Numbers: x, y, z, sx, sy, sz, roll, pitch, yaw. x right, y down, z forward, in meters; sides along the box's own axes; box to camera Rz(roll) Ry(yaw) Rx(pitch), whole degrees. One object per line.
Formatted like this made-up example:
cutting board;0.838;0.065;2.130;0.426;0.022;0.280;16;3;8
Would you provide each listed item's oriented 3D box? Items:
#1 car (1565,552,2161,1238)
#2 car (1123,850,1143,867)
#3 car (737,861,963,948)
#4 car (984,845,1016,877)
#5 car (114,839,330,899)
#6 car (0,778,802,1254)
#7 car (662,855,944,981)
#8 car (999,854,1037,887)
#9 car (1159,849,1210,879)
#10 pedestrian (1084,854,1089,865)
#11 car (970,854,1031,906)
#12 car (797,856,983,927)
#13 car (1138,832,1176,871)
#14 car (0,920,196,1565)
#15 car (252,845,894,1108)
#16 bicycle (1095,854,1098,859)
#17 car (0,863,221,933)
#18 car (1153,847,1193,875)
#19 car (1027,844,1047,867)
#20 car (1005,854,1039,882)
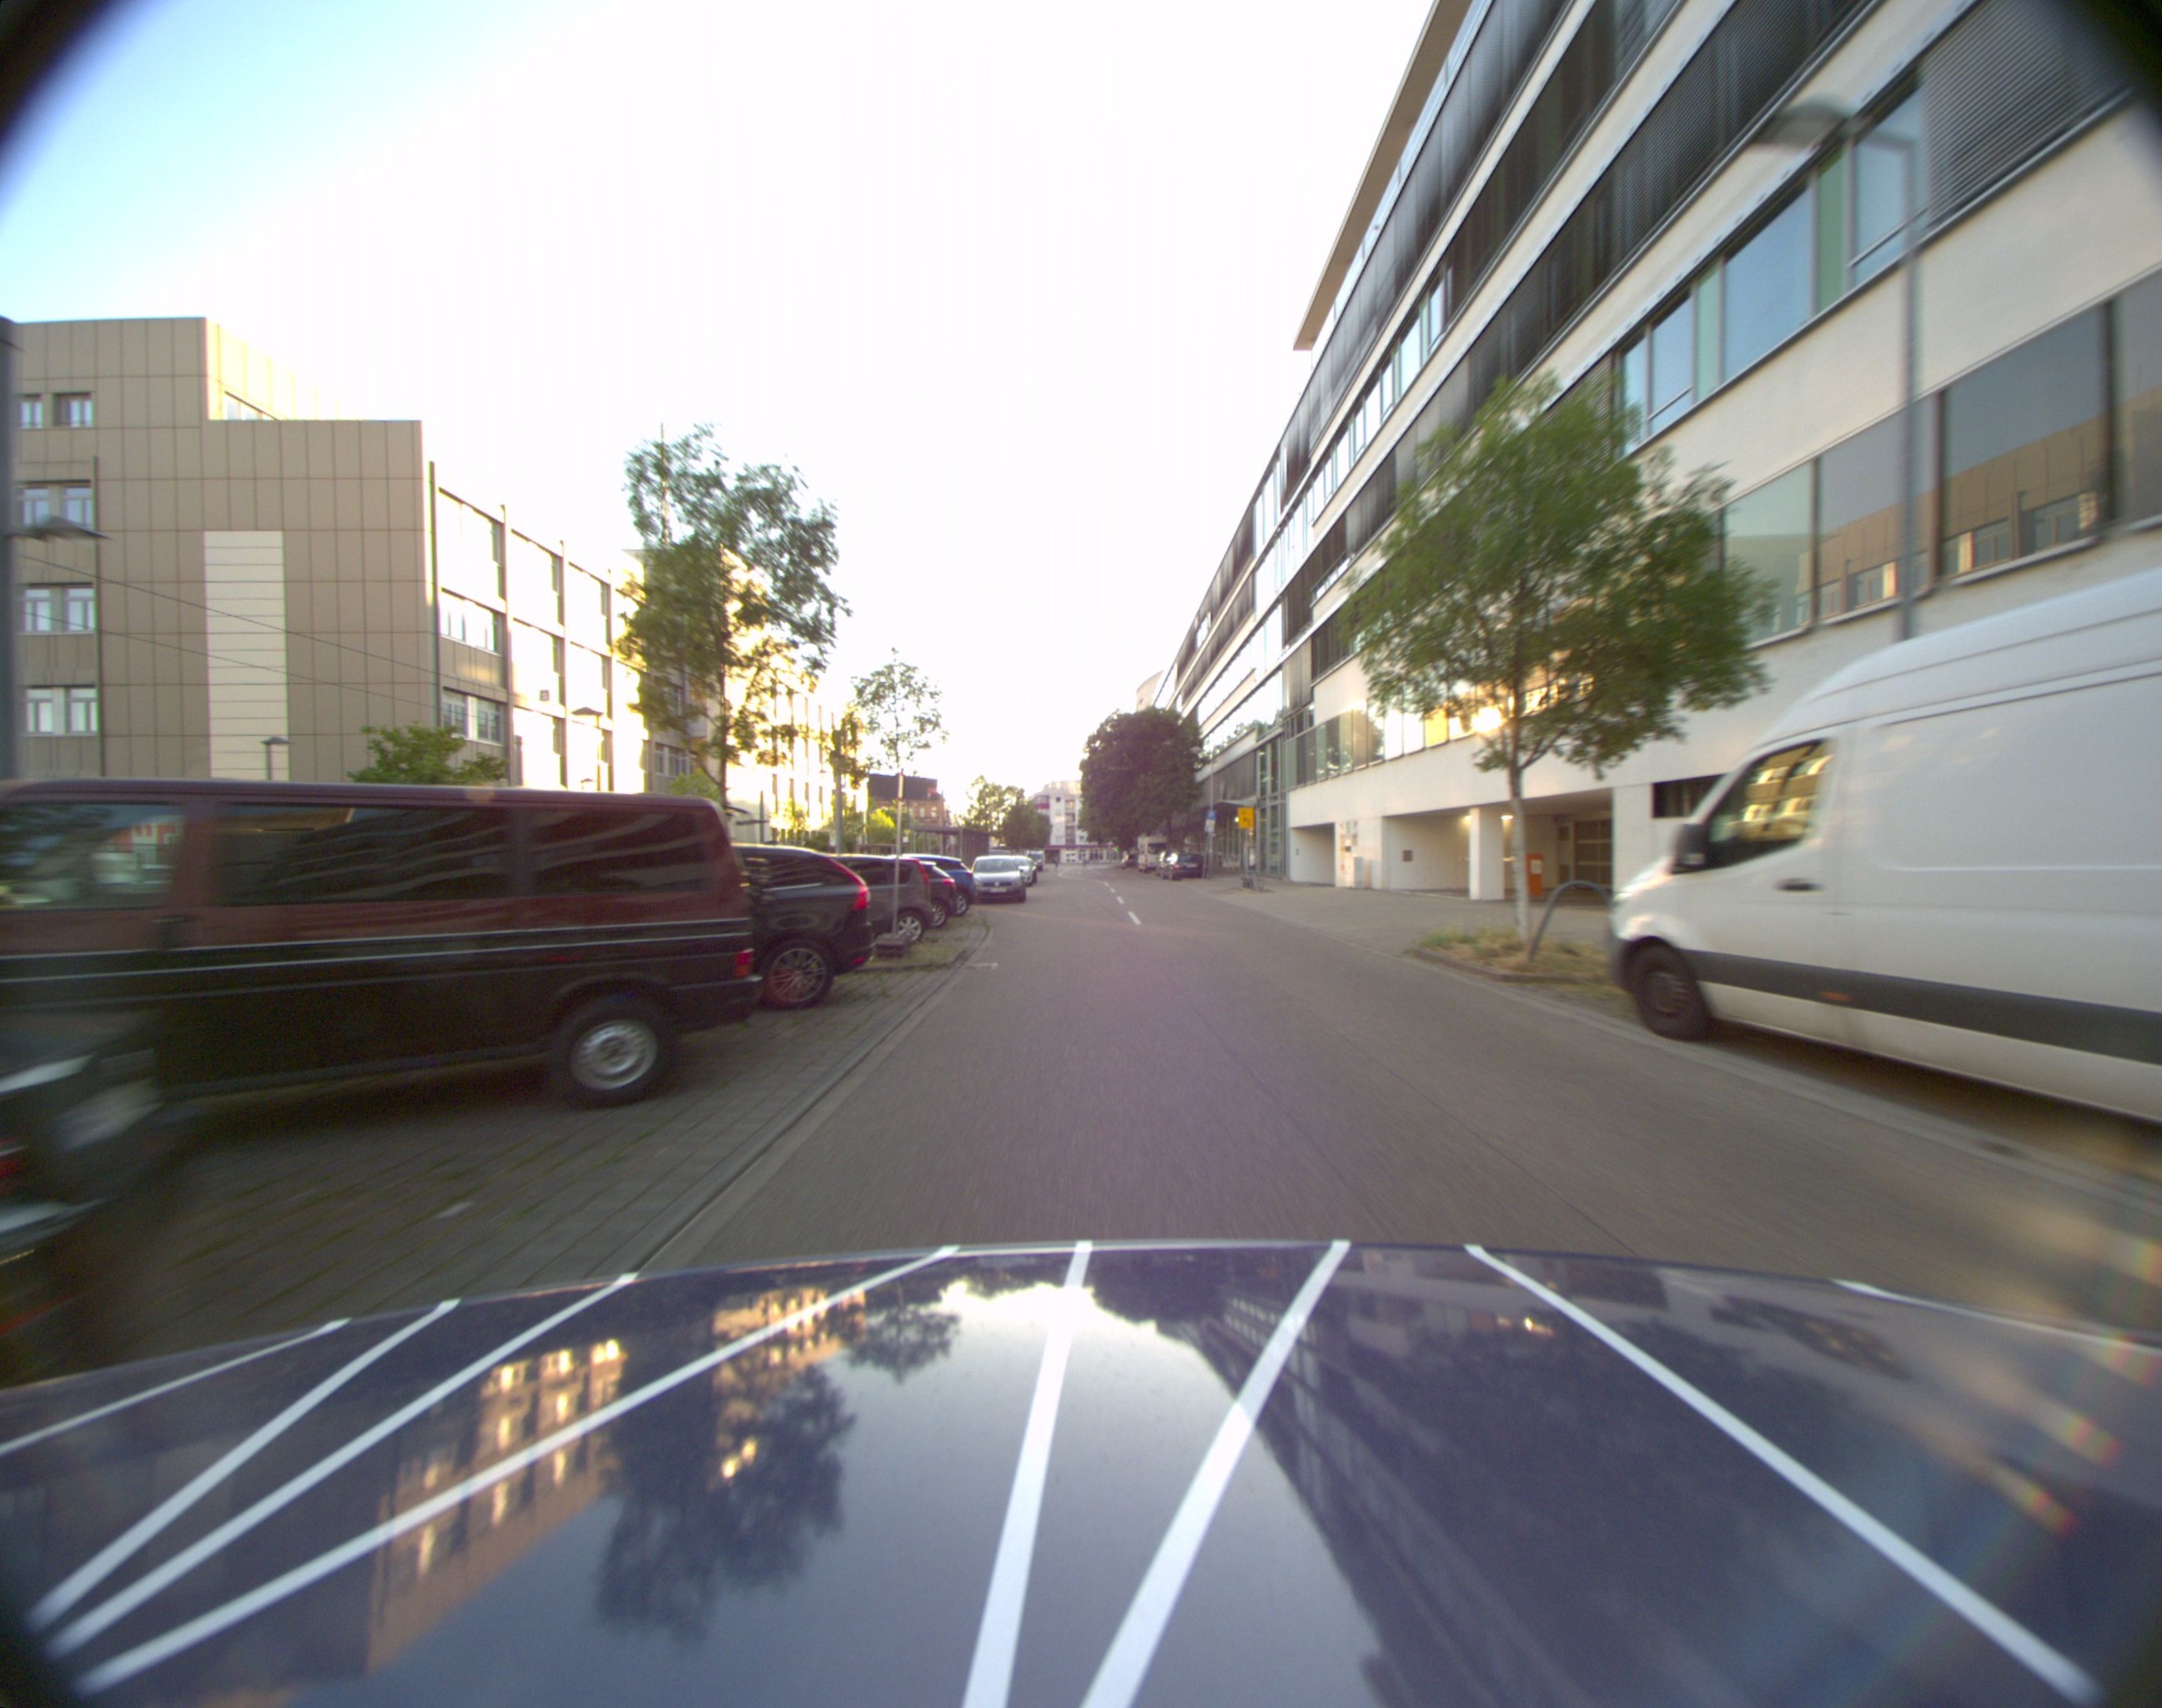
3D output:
car;5.070;0.126;2.937;1.963;2.601;6.892;-3;0;1
car;5.329;0.487;78.186;1.594;1.559;4.471;-4;0;0
car;-4.598;0.908;15.386;4.007;1.456;1.732;-1;1;-38
car;-5.624;0.455;53.359;1.809;2.164;4.735;1;0;-1
car;-23.229;0.390;20.650;3.997;1.478;1.675;1;1;1
car;-4.331;0.681;4.546;4.611;2.023;1.867;-2;0;-33
car;-4.534;0.924;12.628;4.006;1.586;1.732;-4;1;-36
car;-3.051;0.763;37.243;1.680;1.443;4.186;-1;0;-3
car;5.324;0.482;39.574;1.720;1.443;4.397;-1;0;-4
pedestrian;0.888;0.793;118.156;0.545;1.691;0.709;0;1;27
car;-2.722;0.786;24.951;1.737;1.457;3.996;-3;1;-9
car;-4.656;0.835;18.659;4.007;1.512;1.922;0;1;-35
car;5.475;-0.180;55.680;2.106;2.648;6.951;-1;0;0
car;-4.334;1.010;1.005;3.785;1.456;1.635;-2;0;-35
car;-4.422;0.879;7.437;4.611;1.738;1.867;-2;0;-33
bicycle;3.284;0.557;157.710;0.515;1.040;1.902;-1;0;-3
car;-23.627;1.009;18.154;3.997;1.504;1.824;1;0;-1
car;5.434;0.378;45.219;1.849;1.562;4.267;-1;0;0
car;-5.278;0.172;91.639;2.056;2.641;5.433;2;0;-1
car;-3.245;0.736;42.514;1.792;1.443;4.514;-1;0;-3
